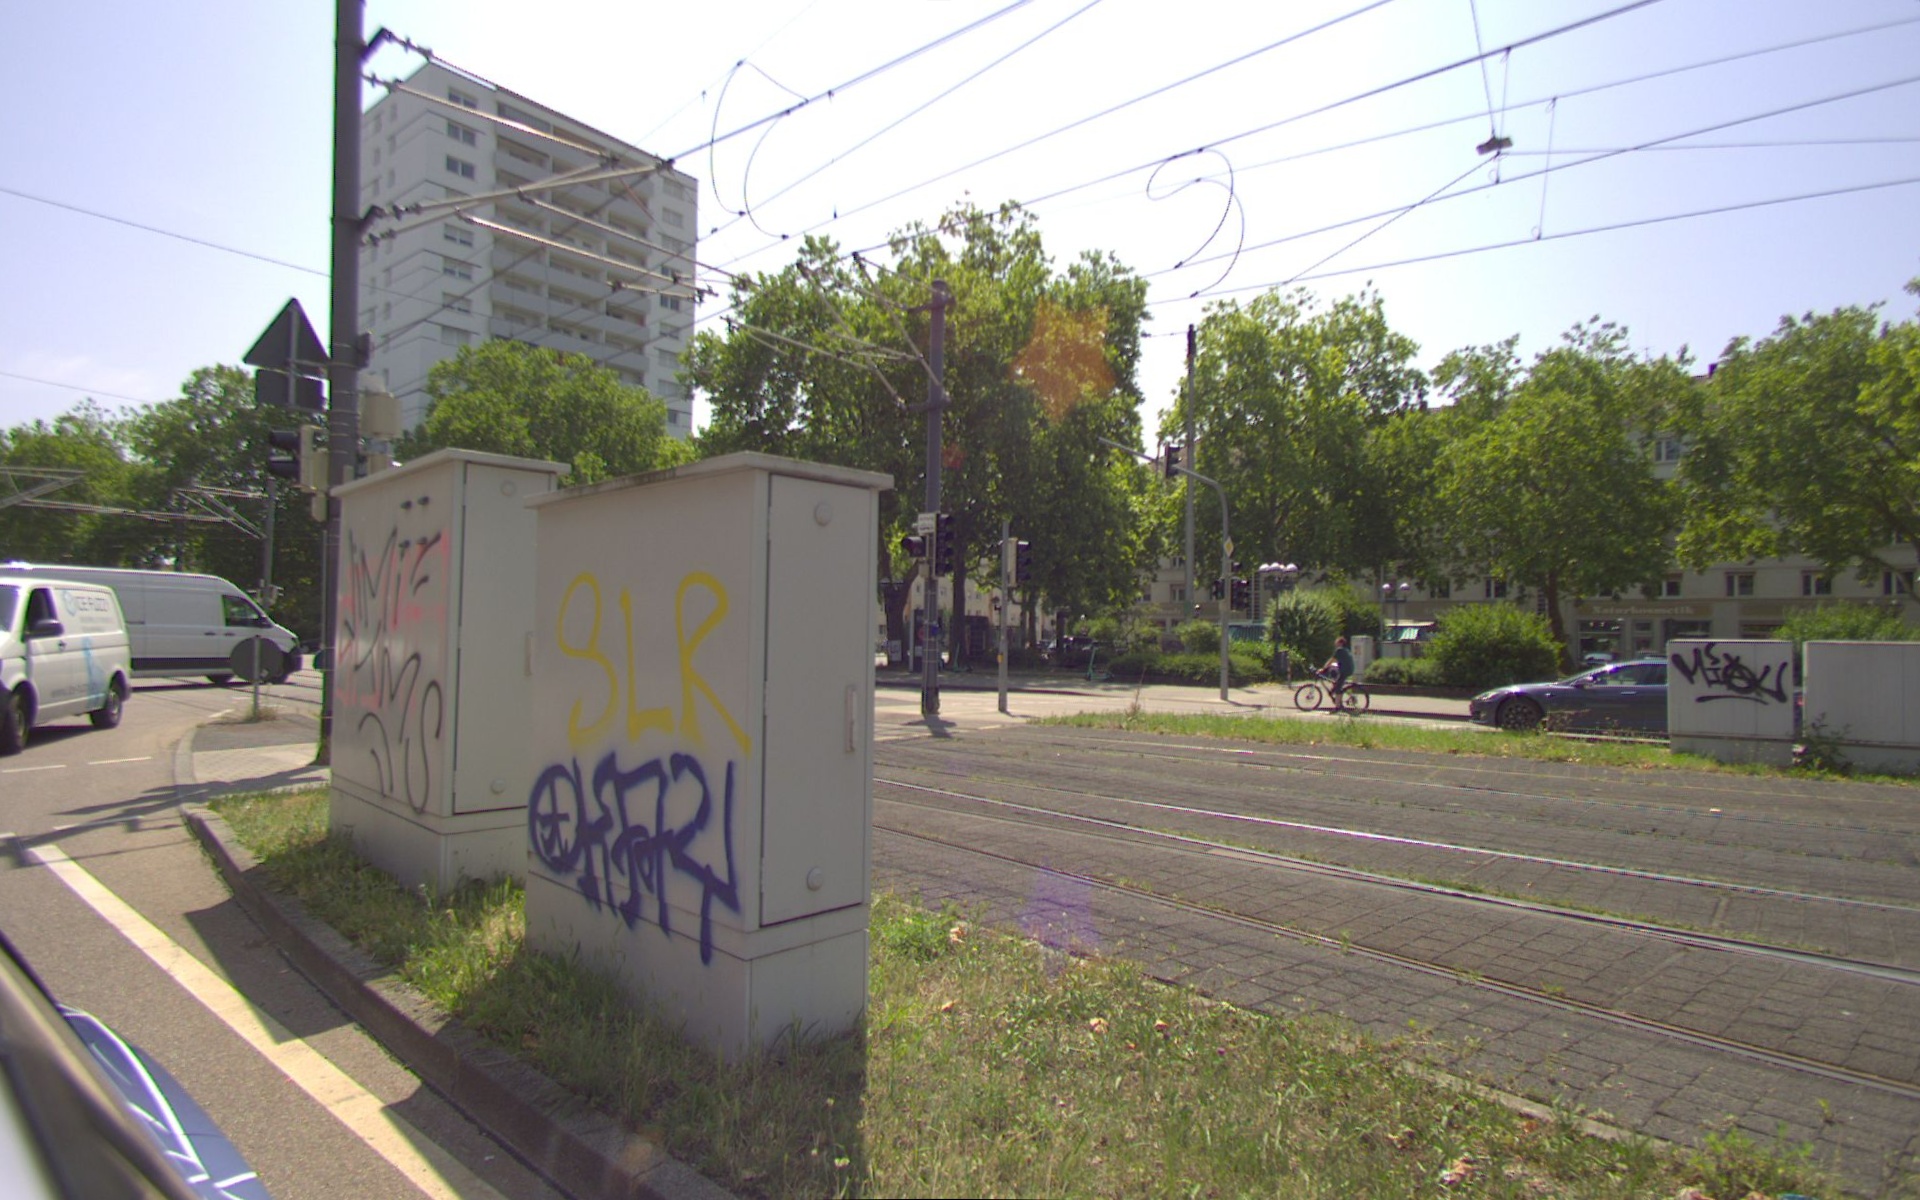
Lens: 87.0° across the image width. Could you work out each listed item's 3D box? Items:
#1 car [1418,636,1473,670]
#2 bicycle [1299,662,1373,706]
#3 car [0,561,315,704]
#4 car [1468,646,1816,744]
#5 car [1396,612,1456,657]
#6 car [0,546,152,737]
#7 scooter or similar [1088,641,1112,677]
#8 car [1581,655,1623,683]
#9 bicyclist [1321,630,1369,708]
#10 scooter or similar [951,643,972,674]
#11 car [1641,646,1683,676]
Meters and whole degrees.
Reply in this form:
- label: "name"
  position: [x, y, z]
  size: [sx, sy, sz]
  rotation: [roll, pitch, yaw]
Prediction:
- label: "car"
  position: [20.984, 2.253, 43.668]
  size: [1.471, 1.394, 3.301]
  rotation: [-1, -2, 38]
- label: "bicycle"
  position: [8.436, 1.870, 22.745]
  size: [1.480, 0.889, 0.491]
  rotation: [-1, -2, 37]
- label: "car"
  position: [-17.871, 0.722, 22.071]
  size: [2.060, 2.657, 6.595]
  rotation: [0, -2, 17]
- label: "car"
  position: [11.275, 1.487, 17.001]
  size: [4.622, 1.369, 1.928]
  rotation: [-1, -3, 38]
- label: "car"
  position: [28.857, 2.104, 62.508]
  size: [2.105, 2.680, 5.636]
  rotation: [-1, -2, 38]
- label: "car"
  position: [-11.534, 0.465, 11.925]
  size: [1.821, 1.968, 4.959]
  rotation: [2, -2, -23]
- label: "scooter or similar"
  position: [4.542, 1.911, 32.857]
  size: [0.253, 1.129, 0.862]
  rotation: [2, -2, -38]
- label: "car"
  position: [35.524, 3.781, 55.967]
  size: [1.620, 1.420, 3.204]
  rotation: [-1, -2, 38]
- label: "bicyclist"
  position: [8.612, 1.517, 22.637]
  size: [0.867, 1.698, 0.632]
  rotation: [-1, -2, 36]
- label: "scooter or similar"
  position: [0.049, 2.250, 38.963]
  size: [0.253, 1.129, 0.979]
  rotation: [2, -2, -38]
- label: "car"
  position: [37.716, 3.244, 54.326]
  size: [1.620, 1.420, 3.876]
  rotation: [-1, -2, 38]
